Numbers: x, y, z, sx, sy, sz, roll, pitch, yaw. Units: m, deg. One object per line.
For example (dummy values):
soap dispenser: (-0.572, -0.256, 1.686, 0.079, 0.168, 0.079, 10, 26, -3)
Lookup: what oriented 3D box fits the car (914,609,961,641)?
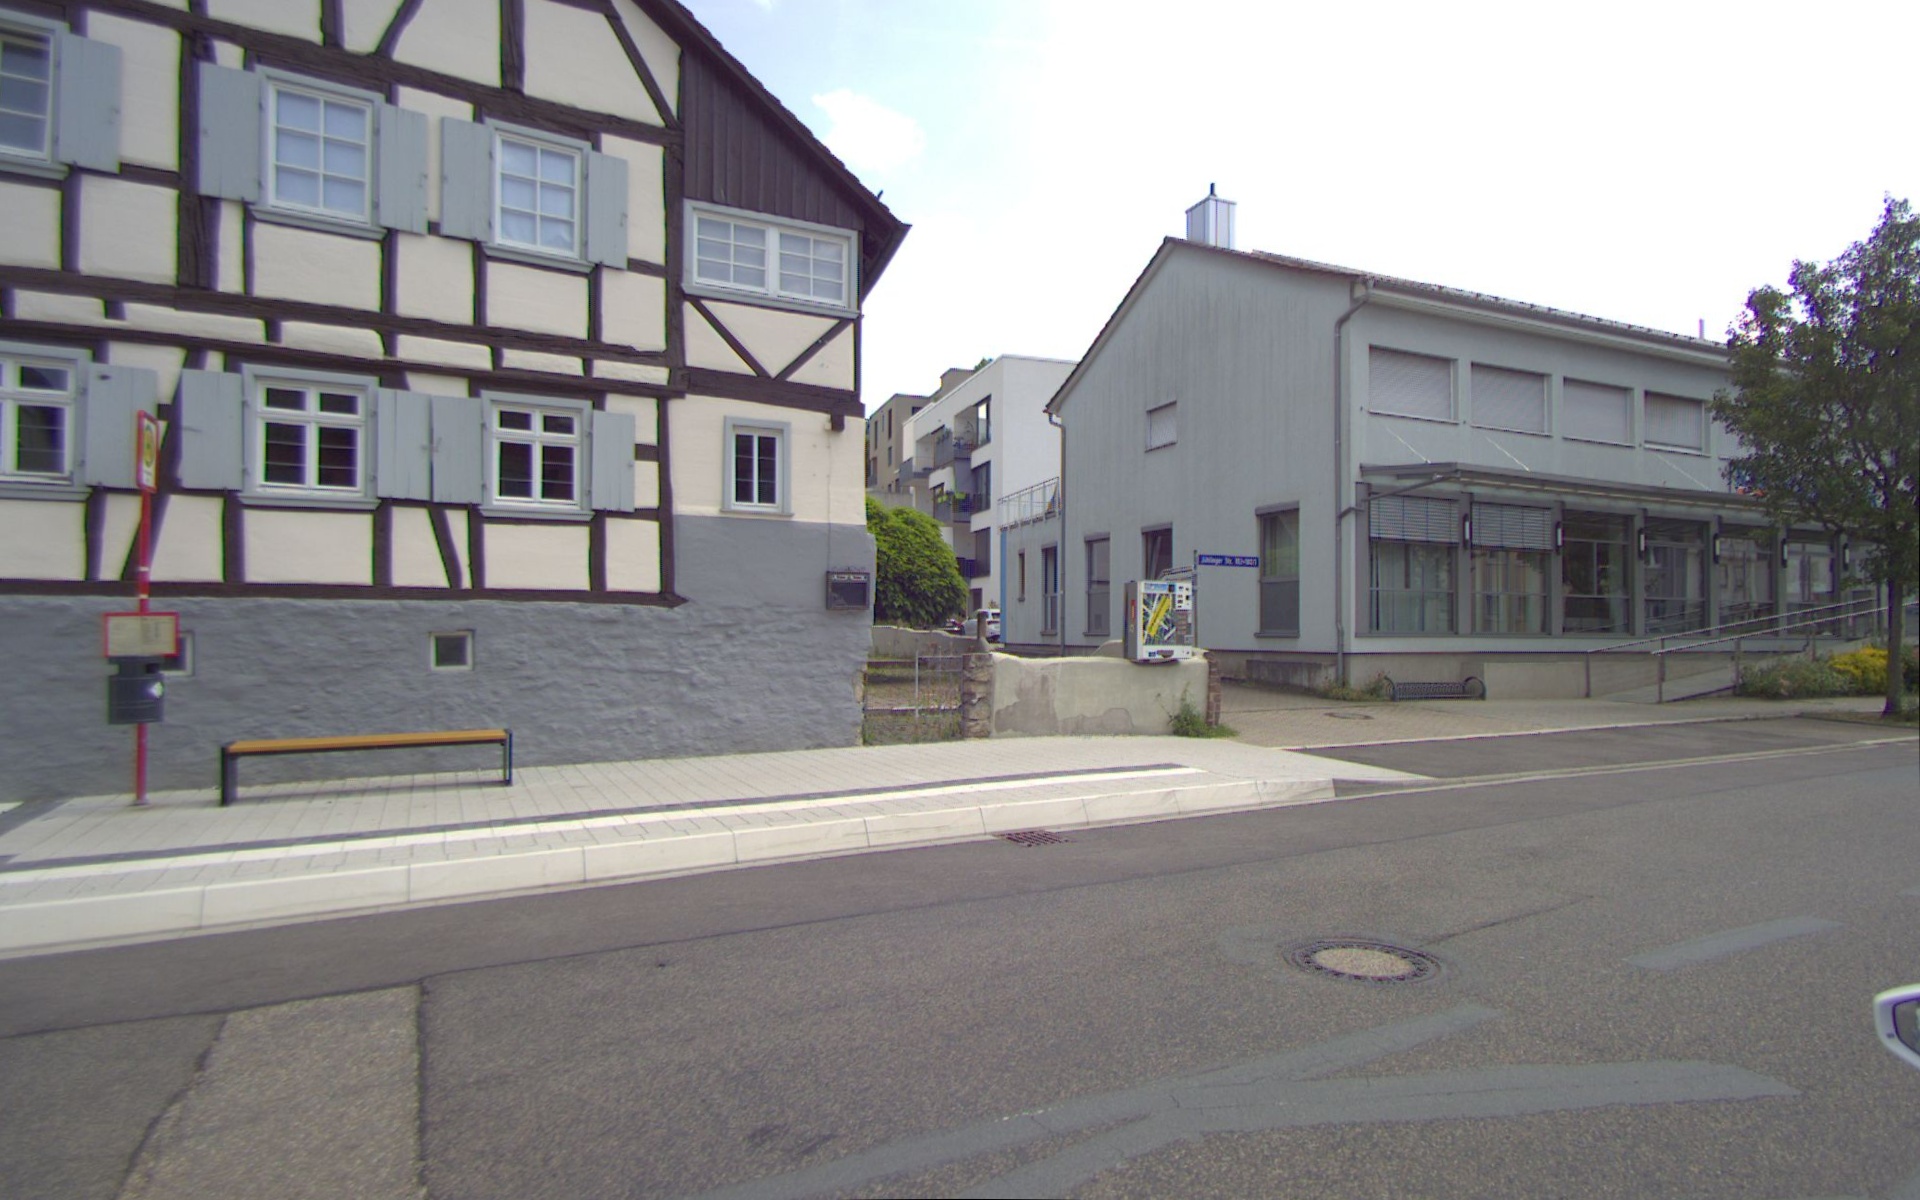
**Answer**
car: (-1.043, 1.096, 45.100, 1.347, 1.375, 3.577, 1, 0, -14)
